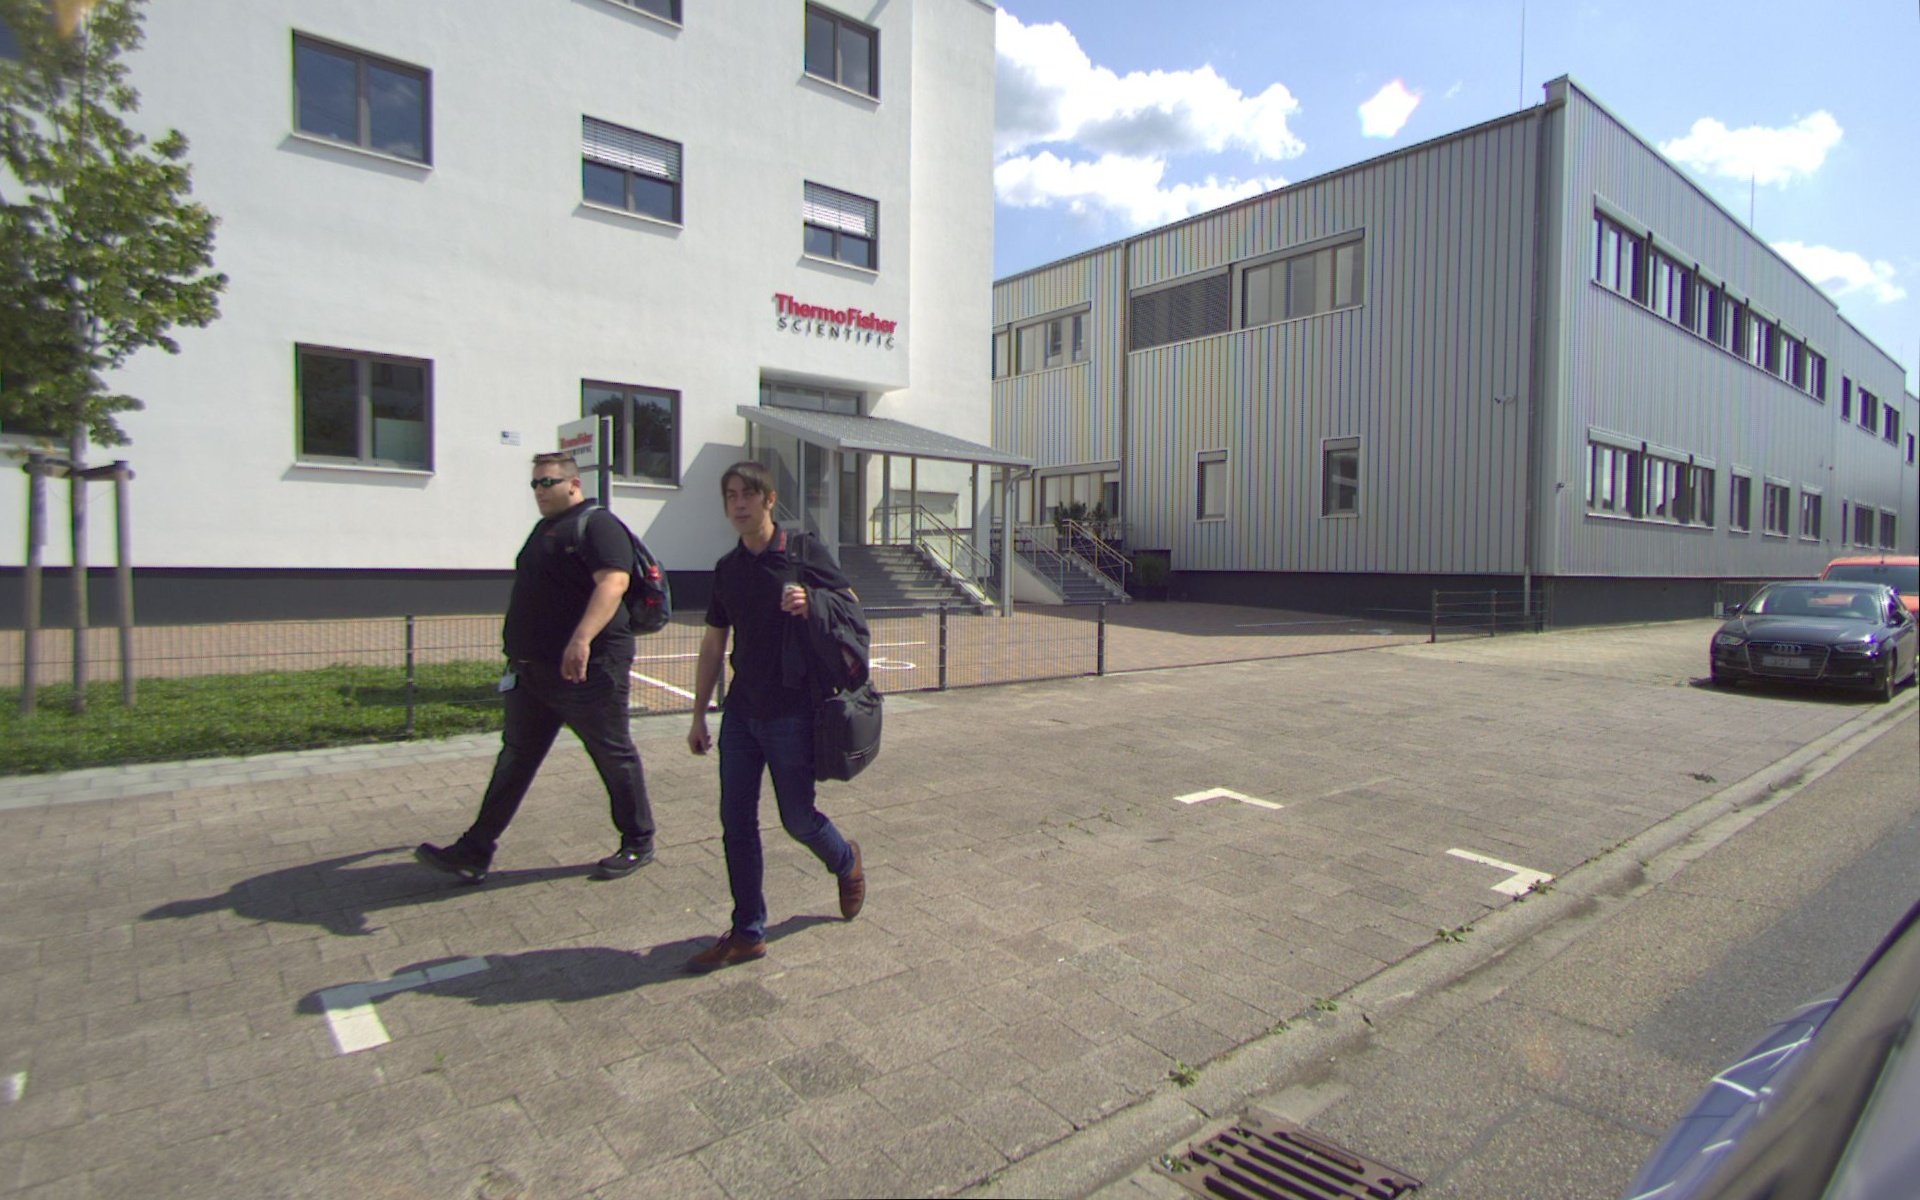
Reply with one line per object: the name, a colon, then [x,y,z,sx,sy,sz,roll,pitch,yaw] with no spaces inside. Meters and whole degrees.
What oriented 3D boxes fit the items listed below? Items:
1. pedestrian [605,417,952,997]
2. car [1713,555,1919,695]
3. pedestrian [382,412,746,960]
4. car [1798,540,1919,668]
pedestrian: [-0.650,0.312,3.820,0.851,1.829,0.996,2,2,27]
car: [11.509,0.244,13.299,4.104,1.577,1.662,-1,0,-40]
pedestrian: [-1.658,0.280,4.344,0.983,1.975,1.081,2,2,27]
car: [15.744,0.037,17.030,4.377,1.916,1.874,-1,-1,-42]
